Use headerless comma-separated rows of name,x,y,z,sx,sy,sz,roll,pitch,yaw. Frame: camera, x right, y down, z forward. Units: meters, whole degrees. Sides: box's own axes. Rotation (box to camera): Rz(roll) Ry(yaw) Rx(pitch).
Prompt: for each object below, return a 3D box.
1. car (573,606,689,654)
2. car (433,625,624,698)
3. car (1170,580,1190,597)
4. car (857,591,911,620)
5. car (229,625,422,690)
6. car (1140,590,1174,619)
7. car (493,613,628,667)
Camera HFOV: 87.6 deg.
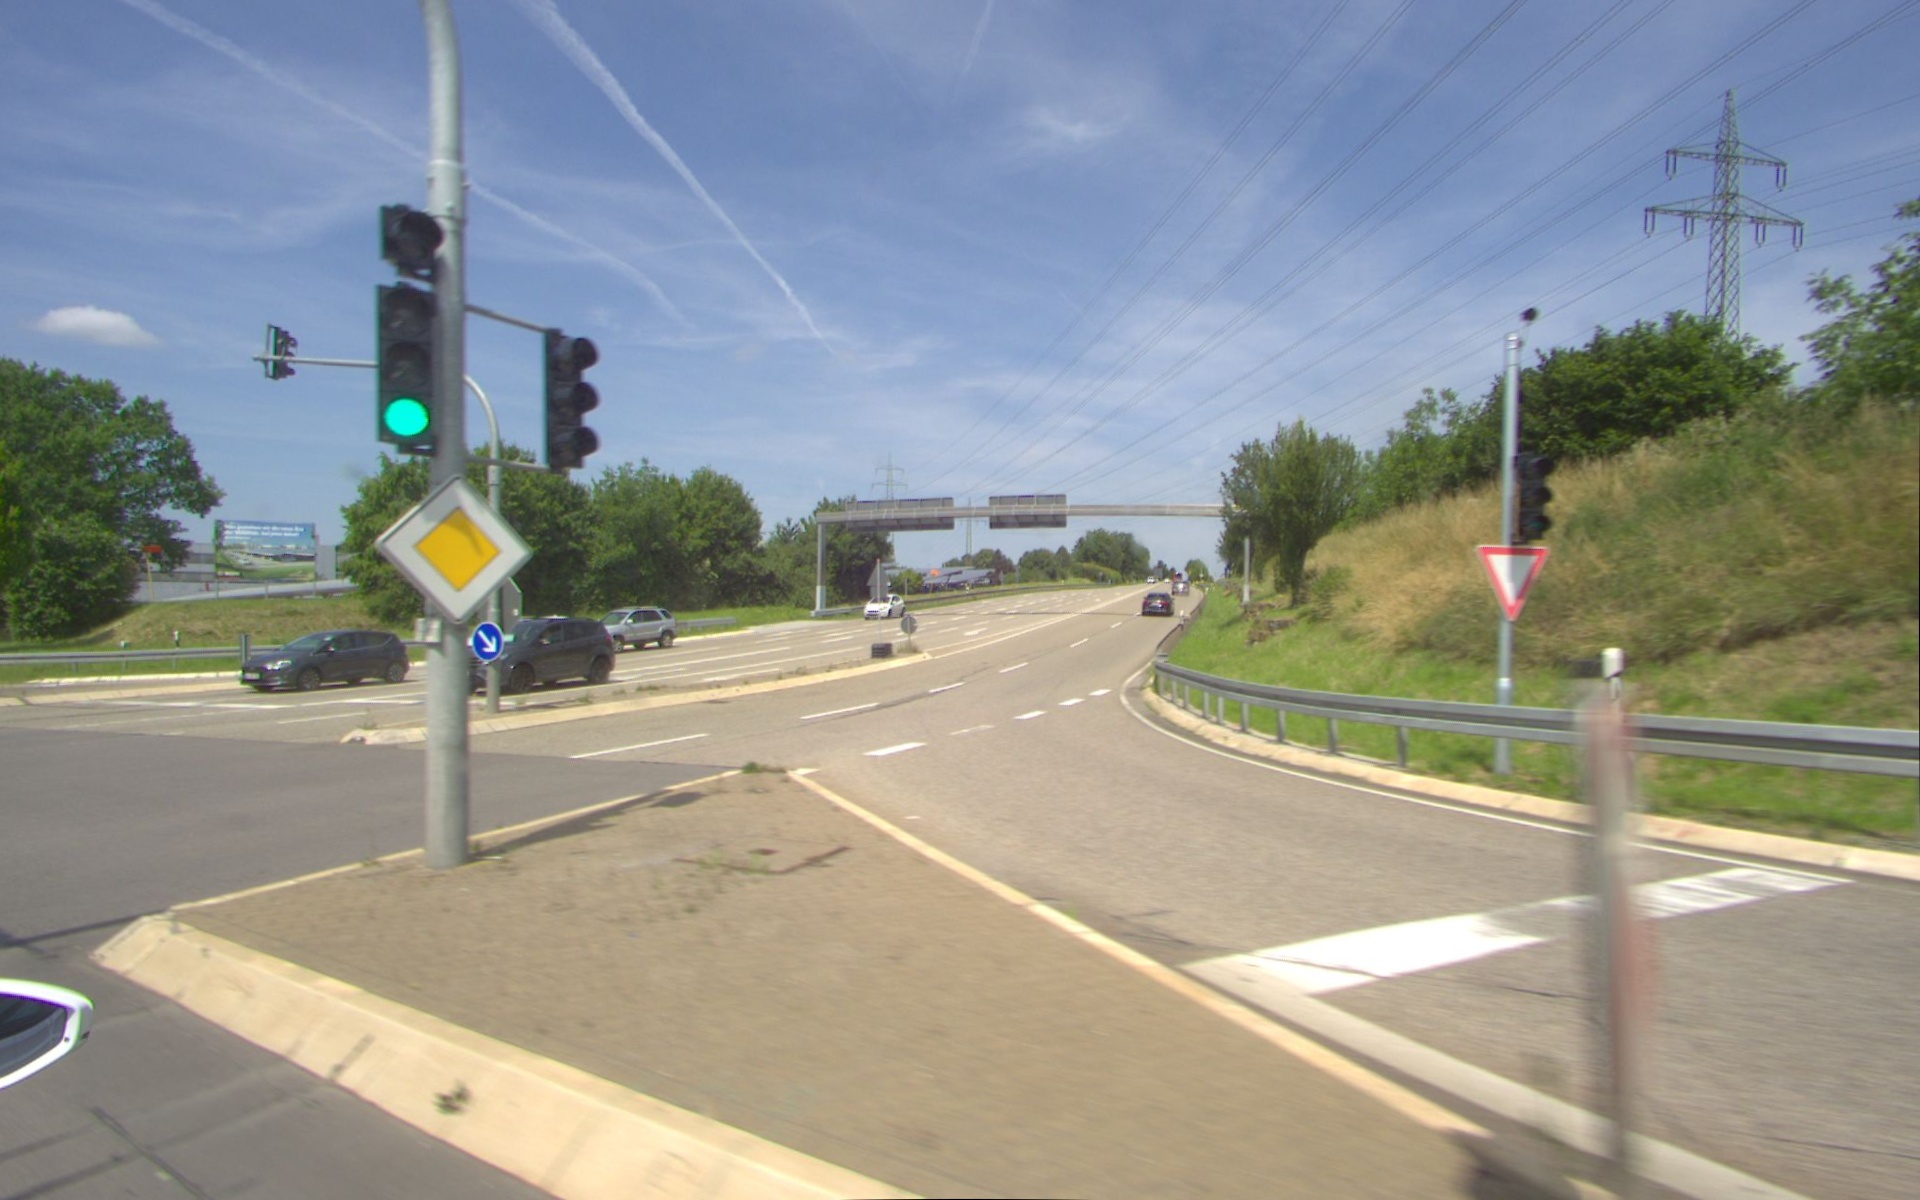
car,-13.274,1.172,40.627,1.809,1.677,4.351,-2,1,29
car,-10.208,1.408,24.087,1.686,1.530,4.363,-1,-1,20
car,22.530,-1.161,102.452,1.720,1.554,4.288,1,3,17
car,-4.751,0.310,63.171,1.751,1.622,3.986,1,3,22
car,-16.274,1.422,25.911,1.687,1.530,3.990,-1,-2,23
car,12.394,0.236,62.867,1.720,1.554,4.288,1,3,17
car,-13.687,1.331,34.577,1.750,1.613,4.359,-1,1,23
